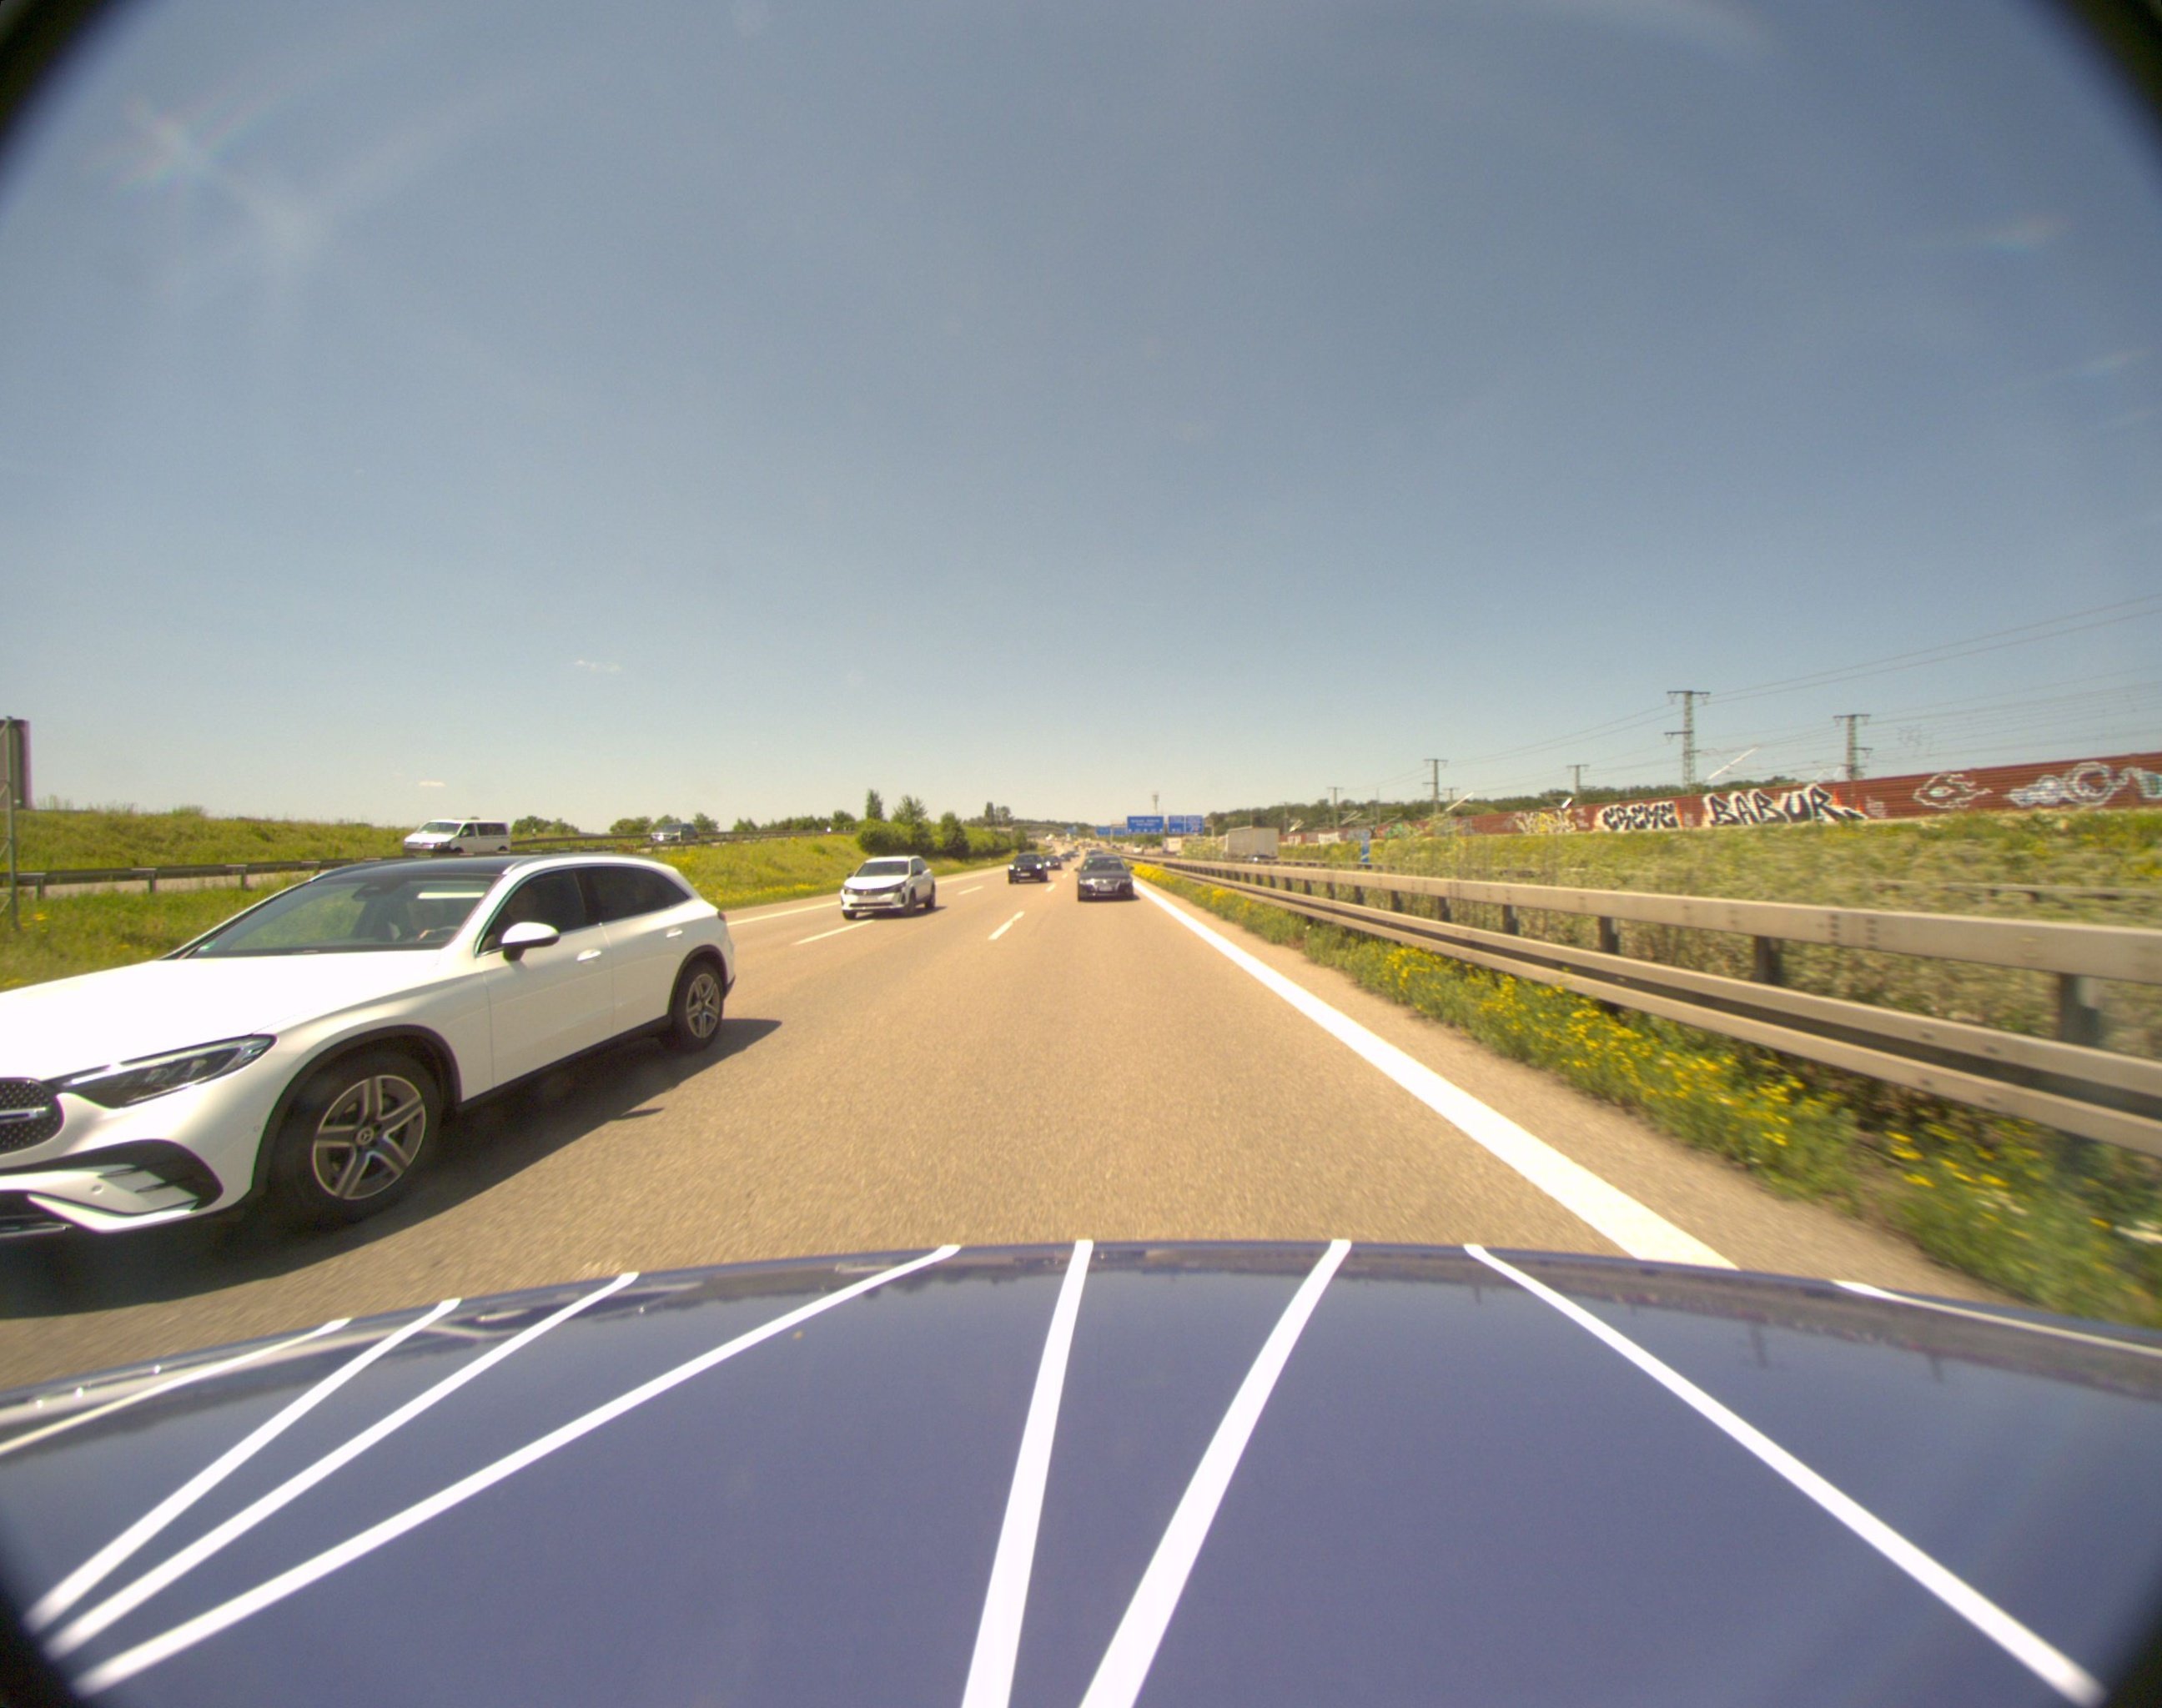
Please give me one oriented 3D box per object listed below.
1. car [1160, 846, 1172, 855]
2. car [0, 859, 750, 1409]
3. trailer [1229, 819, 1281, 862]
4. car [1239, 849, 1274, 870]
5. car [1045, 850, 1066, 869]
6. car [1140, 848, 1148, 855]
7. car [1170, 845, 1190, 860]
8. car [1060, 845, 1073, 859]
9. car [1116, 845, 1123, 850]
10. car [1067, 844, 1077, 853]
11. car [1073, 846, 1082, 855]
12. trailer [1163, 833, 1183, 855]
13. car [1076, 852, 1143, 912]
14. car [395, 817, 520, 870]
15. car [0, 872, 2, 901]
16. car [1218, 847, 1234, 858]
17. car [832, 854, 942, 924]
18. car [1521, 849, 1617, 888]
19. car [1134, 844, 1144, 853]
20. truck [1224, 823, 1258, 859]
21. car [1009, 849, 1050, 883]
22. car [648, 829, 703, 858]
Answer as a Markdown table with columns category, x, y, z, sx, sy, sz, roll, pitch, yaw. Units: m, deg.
| category | x | y | z | sx | sy | sz | roll | pitch | yaw |
| --- | --- | --- | --- | --- | --- | --- | --- | --- | --- |
| car | 15.495 | -0.661 | 138.320 | 1.820 | 1.638 | 4.362 | -2 | 1 | 1 |
| car | -4.088 | 0.940 | 4.717 | 1.909 | 1.646 | 4.636 | -3 | 1 | 1 |
| trailer | 17.989 | -1.373 | 79.648 | 2.736 | 4.050 | 13.529 | -1 | 1 | 2 |
| car | 13.349 | 0.392 | 57.857 | 1.820 | 1.470 | 3.842 | -2 | 1 | 1 |
| car | -2.270 | 0.445 | 68.217 | 1.752 | 1.462 | 3.998 | -2 | 2 | -2 |
| car | 16.040 | -0.673 | 194.451 | 1.723 | 1.625 | 4.191 | -3 | 2 | 1 |
| car | 10.513 | -0.194 | 80.913 | 1.649 | 1.470 | 3.814 | -2 | 1 | 1 |
| car | -2.249 | -0.321 | 119.219 | 1.999 | 2.002 | 3.999 | -2 | 2 | 0 |
| car | 13.022 | -2.237 | 258.038 | 1.998 | 1.455 | 4.384 | -2 | 1 | 1 |
| car | -1.976 | -1.163 | 163.627 | 1.999 | 1.691 | 3.999 | -2 | 1 | 0 |
| car | -0.854 | -0.834 | 181.747 | 1.998 | 2.002 | 3.999 | -3 | 2 | 1 |
| trailer | 19.009 | -2.029 | 157.600 | 2.895 | 4.382 | 12.090 | -1 | 1 | 1 |
| car | 0.758 | 0.748 | 22.598 | 1.752 | 1.462 | 3.998 | -2 | 2 | 0 |
| car | -28.290 | -0.456 | 34.714 | 2.000 | 2.159 | 4.890 | -2 | 0 | -7 |
| car | -26.036 | 0.444 | 15.514 | 1.999 | 1.375 | 4.294 | -2 | 1 | -6 |
| car | 22.137 | -0.228 | 116.292 | 1.758 | 1.510 | 3.836 | -2 | 1 | 1 |
| car | -5.364 | 0.893 | 21.683 | 1.898 | 1.620 | 4.615 | -3 | 1 | 0 |
| car | 20.786 | 0.562 | 32.541 | 1.724 | 1.535 | 3.809 | -2 | 1 | 1 |
| car | 11.981 | -1.063 | 157.724 | 1.820 | 1.775 | 4.538 | -2 | 1 | 1 |
| truck | 18.239 | -1.468 | 86.998 | 2.736 | 4.048 | 6.380 | -1 | 1 | 2 |
| car | -2.809 | 0.608 | 42.371 | 1.983 | 1.620 | 4.615 | -3 | 1 | -1 |
| car | -30.116 | -0.831 | 56.550 | 1.999 | 2.002 | 3.998 | -3 | 2 | -3 |
